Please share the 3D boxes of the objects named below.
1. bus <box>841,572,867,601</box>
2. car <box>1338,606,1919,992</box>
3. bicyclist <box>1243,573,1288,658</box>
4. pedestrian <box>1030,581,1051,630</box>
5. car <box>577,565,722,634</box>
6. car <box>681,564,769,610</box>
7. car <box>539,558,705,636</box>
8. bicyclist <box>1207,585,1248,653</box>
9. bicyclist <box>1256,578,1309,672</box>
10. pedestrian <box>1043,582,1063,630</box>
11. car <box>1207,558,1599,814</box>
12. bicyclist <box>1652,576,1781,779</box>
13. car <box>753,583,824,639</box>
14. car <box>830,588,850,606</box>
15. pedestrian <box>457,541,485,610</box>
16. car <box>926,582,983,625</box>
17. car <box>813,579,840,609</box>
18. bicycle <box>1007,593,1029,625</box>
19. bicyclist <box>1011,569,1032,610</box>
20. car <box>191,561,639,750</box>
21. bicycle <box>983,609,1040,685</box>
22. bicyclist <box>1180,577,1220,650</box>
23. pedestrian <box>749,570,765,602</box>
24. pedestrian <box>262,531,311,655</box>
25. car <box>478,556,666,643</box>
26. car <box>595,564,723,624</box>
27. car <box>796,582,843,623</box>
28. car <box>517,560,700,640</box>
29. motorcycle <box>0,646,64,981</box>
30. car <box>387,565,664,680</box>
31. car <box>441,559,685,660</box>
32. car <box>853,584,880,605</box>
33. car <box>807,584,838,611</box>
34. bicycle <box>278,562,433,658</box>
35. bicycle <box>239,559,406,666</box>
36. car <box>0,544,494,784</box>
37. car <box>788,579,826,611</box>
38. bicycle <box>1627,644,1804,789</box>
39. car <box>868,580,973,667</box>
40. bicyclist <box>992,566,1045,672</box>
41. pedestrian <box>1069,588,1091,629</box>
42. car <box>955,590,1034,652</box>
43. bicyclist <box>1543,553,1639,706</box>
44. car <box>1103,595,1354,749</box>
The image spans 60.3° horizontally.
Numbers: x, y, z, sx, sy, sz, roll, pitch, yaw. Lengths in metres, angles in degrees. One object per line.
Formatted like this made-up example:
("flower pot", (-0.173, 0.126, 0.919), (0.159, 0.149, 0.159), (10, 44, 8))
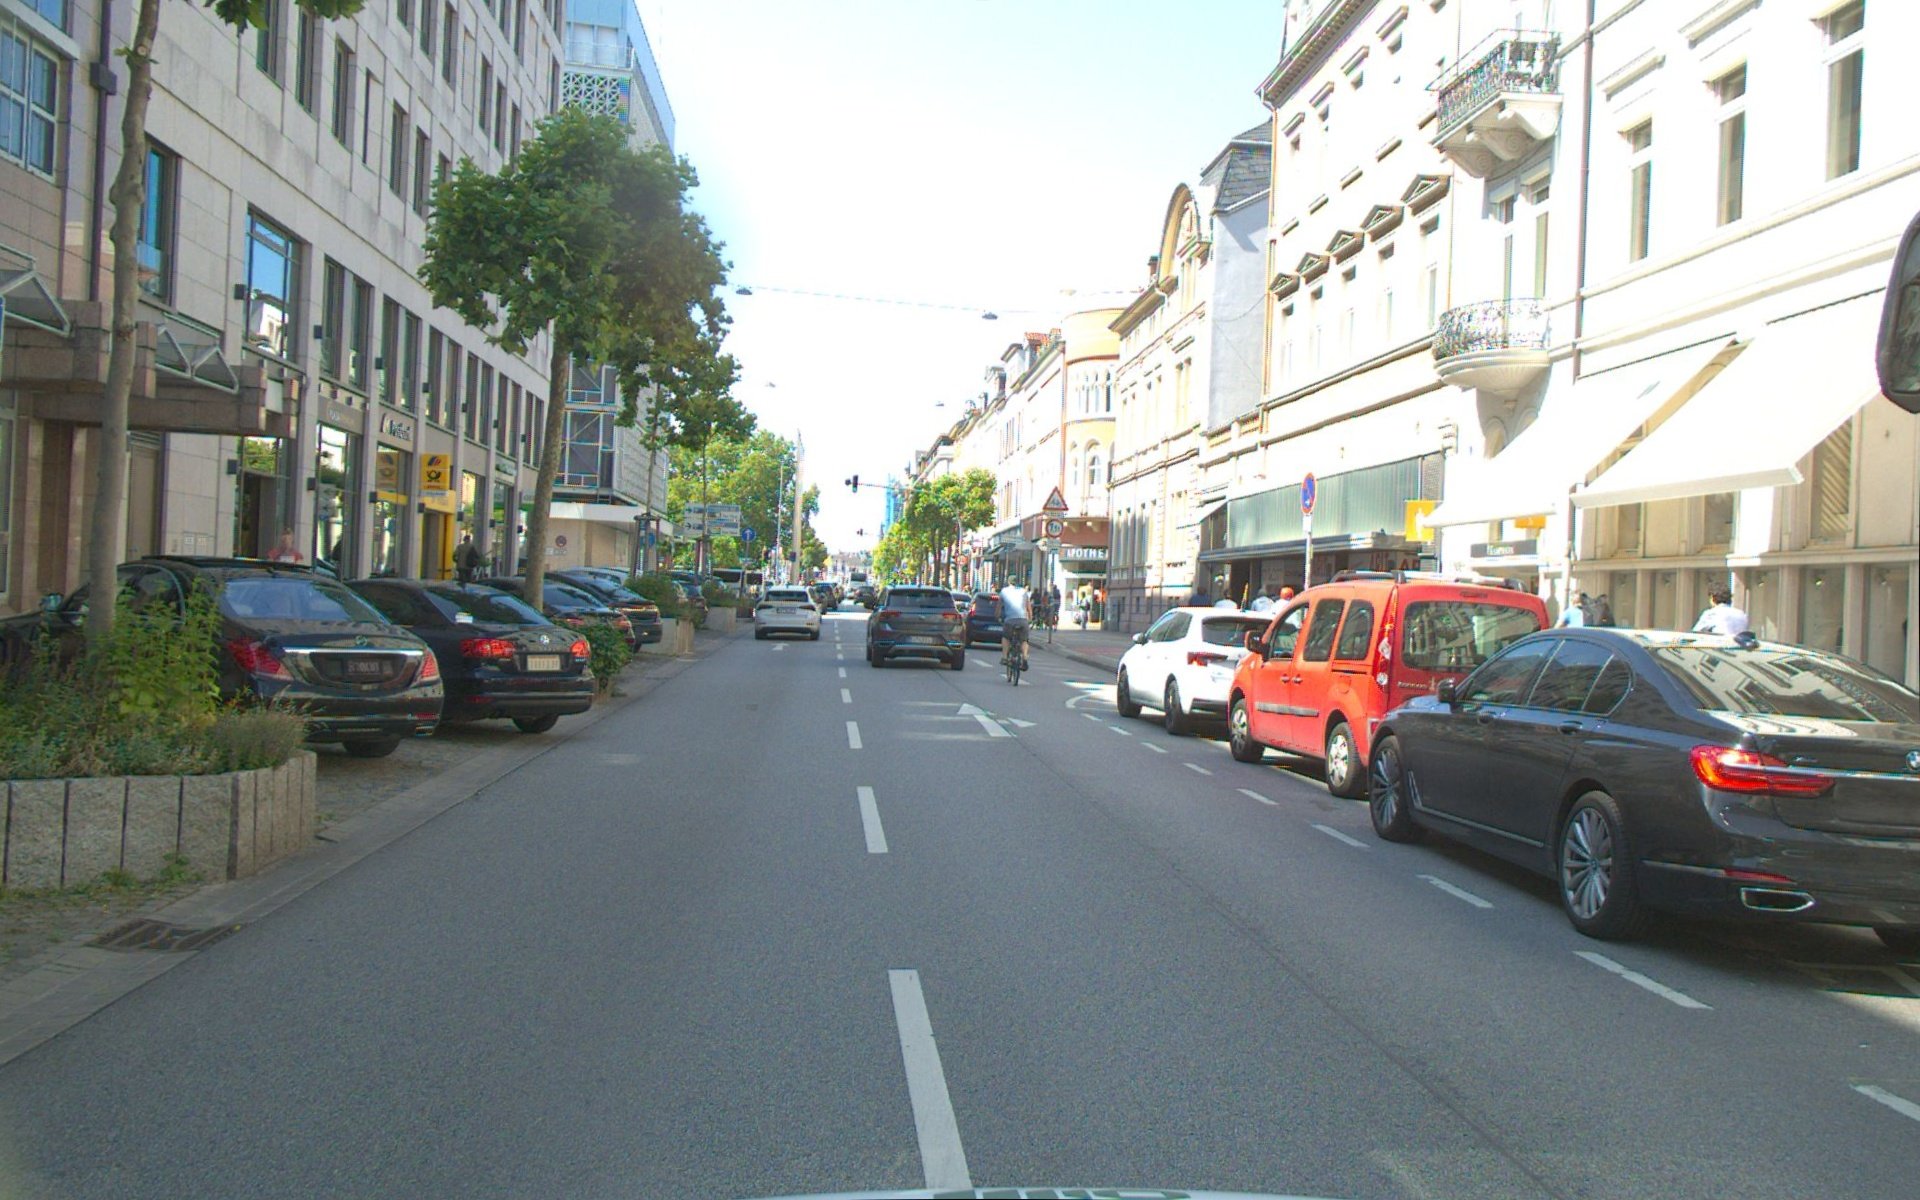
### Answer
("bus", (-13.974, -1.792, 217.271), (2.718, 3.668, 8.959), (2, 0, -8))
("car", (3.876, 0.870, 9.509), (1.823, 1.495, 5.221), (4, 0, -4))
("bicyclist", (6.006, 0.299, 32.553), (0.645, 1.623, 0.920), (2, 0, -3))
("pedestrian", (3.202, 0.211, 65.789), (0.694, 1.932, 1.152), (2, 0, -1))
("car", (-8.972, -0.020, 47.659), (3.919, 1.484, 1.665), (7, 0, 33))
("car", (-12.979, -0.716, 91.360), (4.632, 2.038, 1.934), (6, -1, 36))
("car", (-9.058, -0.078, 44.372), (3.908, 1.595, 1.700), (7, 0, 21))
("bicyclist", (5.117, 0.360, 31.663), (0.611, 1.270, 0.607), (2, 0, -3))
("bicyclist", (5.282, 0.400, 27.103), (0.612, 1.502, 0.889), (2, 0, -3))
("pedestrian", (3.562, 0.224, 63.554), (0.639, 1.841, 0.729), (2, 0, -1))
("car", (3.798, 0.647, 15.056), (1.793, 1.896, 4.346), (4, 0, -8))
("bicyclist", (6.968, 0.690, 15.272), (0.634, 1.800, 1.012), (2, 0, -4))
("car", (-4.758, 0.278, 46.016), (1.827, 1.466, 3.995), (1, 0, -6))
("car", (-11.428, -0.255, 157.441), (1.827, 1.466, 3.995), (-3, -1, -5))
("pedestrian", (-14.851, -0.737, 50.272), (0.611, 2.049, 0.700), (2, 0, -4))
("car", (-0.233, 0.102, 60.409), (1.786, 1.409, 3.998), (2, 1, -4))
("car", (-9.827, -0.400, 121.288), (1.827, 2.065, 3.995), (3, -1, -5))
("bicycle", (2.239, 0.349, 63.891), (0.544, 1.139, 2.241), (4, 1, -4))
("bicyclist", (2.666, -0.447, 71.880), (0.681, 1.702, 0.835), (5, 2, -4))
("car", (-5.621, 0.486, 16.813), (4.702, 1.447, 1.876), (4, 1, 36))
("bicycle", (0.855, 0.769, 27.895), (0.651, 1.139, 2.241), (4, 1, -4))
("bicyclist", (5.419, 0.296, 37.401), (0.695, 1.623, 0.963), (2, 0, -3))
("pedestrian", (-10.398, -0.717, 84.705), (0.607, 1.643, 0.544), (3, -2, -34))
("pedestrian", (-9.386, -0.100, 23.040), (0.558, 1.686, 0.631), (2, 0, -26))
("car", (-8.840, -0.011, 37.981), (3.915, 1.526, 1.714), (6, 0, -9))
("car", (-9.901, -0.188, 54.650), (3.912, 1.526, 1.715), (6, 0, -7))
("car", (-5.419, 0.065, 63.973), (1.709, 1.466, 3.996), (2, 0, -5))
("car", (-8.664, 0.009, 40.868), (3.904, 1.515, 1.785), (6, 0, 13))
("motorcycle", (-4.390, 0.735, 6.101), (1.870, 1.190, 0.761), (3, 0, 16))
("car", (-6.990, 0.331, 26.377), (4.565, 1.432, 1.897), (5, 1, 39))
("car", (-7.596, 0.171, 31.590), (4.257, 1.539, 1.831), (5, 0, 26))
("car", (-6.790, -0.413, 119.937), (1.827, 1.466, 3.996), (2, 0, -5))
("car", (-7.860, -0.160, 94.375), (1.709, 1.466, 3.996), (2, 0, -5))
("bicycle", (-8.921, 0.150, 24.456), (2.035, 1.240, 0.755), (5, -1, -21))
("bicycle", (-8.845, 0.181, 23.008), (2.029, 1.311, 0.366), (5, -1, -12))
("car", (-6.177, 0.424, 13.820), (4.666, 1.560, 1.981), (4, 0, 38))
("car", (-7.327, -0.258, 79.331), (1.709, 1.466, 3.996), (2, 0, -5))
("bicycle", (6.878, 1.026, 15.178), (0.544, 1.140, 2.071), (0, 1, -4))
("car", (-0.834, 0.421, 32.233), (1.797, 1.554, 3.996), (2, 0, -5))
("bicyclist", (0.977, 0.310, 27.752), (0.681, 1.702, 0.915), (4, 1, -4))
("pedestrian", (5.191, 0.368, 71.373), (0.776, 1.750, 0.728), (1, 0, -9))
("car", (0.903, 0.530, 44.806), (1.786, 1.433, 3.184), (5, 1, -4))
("bicyclist", (7.322, 0.326, 19.237), (0.634, 1.714, 1.012), (2, 0, -4))
("car", (3.156, 0.791, 20.475), (1.779, 1.491, 4.574), (4, 1, -7))
